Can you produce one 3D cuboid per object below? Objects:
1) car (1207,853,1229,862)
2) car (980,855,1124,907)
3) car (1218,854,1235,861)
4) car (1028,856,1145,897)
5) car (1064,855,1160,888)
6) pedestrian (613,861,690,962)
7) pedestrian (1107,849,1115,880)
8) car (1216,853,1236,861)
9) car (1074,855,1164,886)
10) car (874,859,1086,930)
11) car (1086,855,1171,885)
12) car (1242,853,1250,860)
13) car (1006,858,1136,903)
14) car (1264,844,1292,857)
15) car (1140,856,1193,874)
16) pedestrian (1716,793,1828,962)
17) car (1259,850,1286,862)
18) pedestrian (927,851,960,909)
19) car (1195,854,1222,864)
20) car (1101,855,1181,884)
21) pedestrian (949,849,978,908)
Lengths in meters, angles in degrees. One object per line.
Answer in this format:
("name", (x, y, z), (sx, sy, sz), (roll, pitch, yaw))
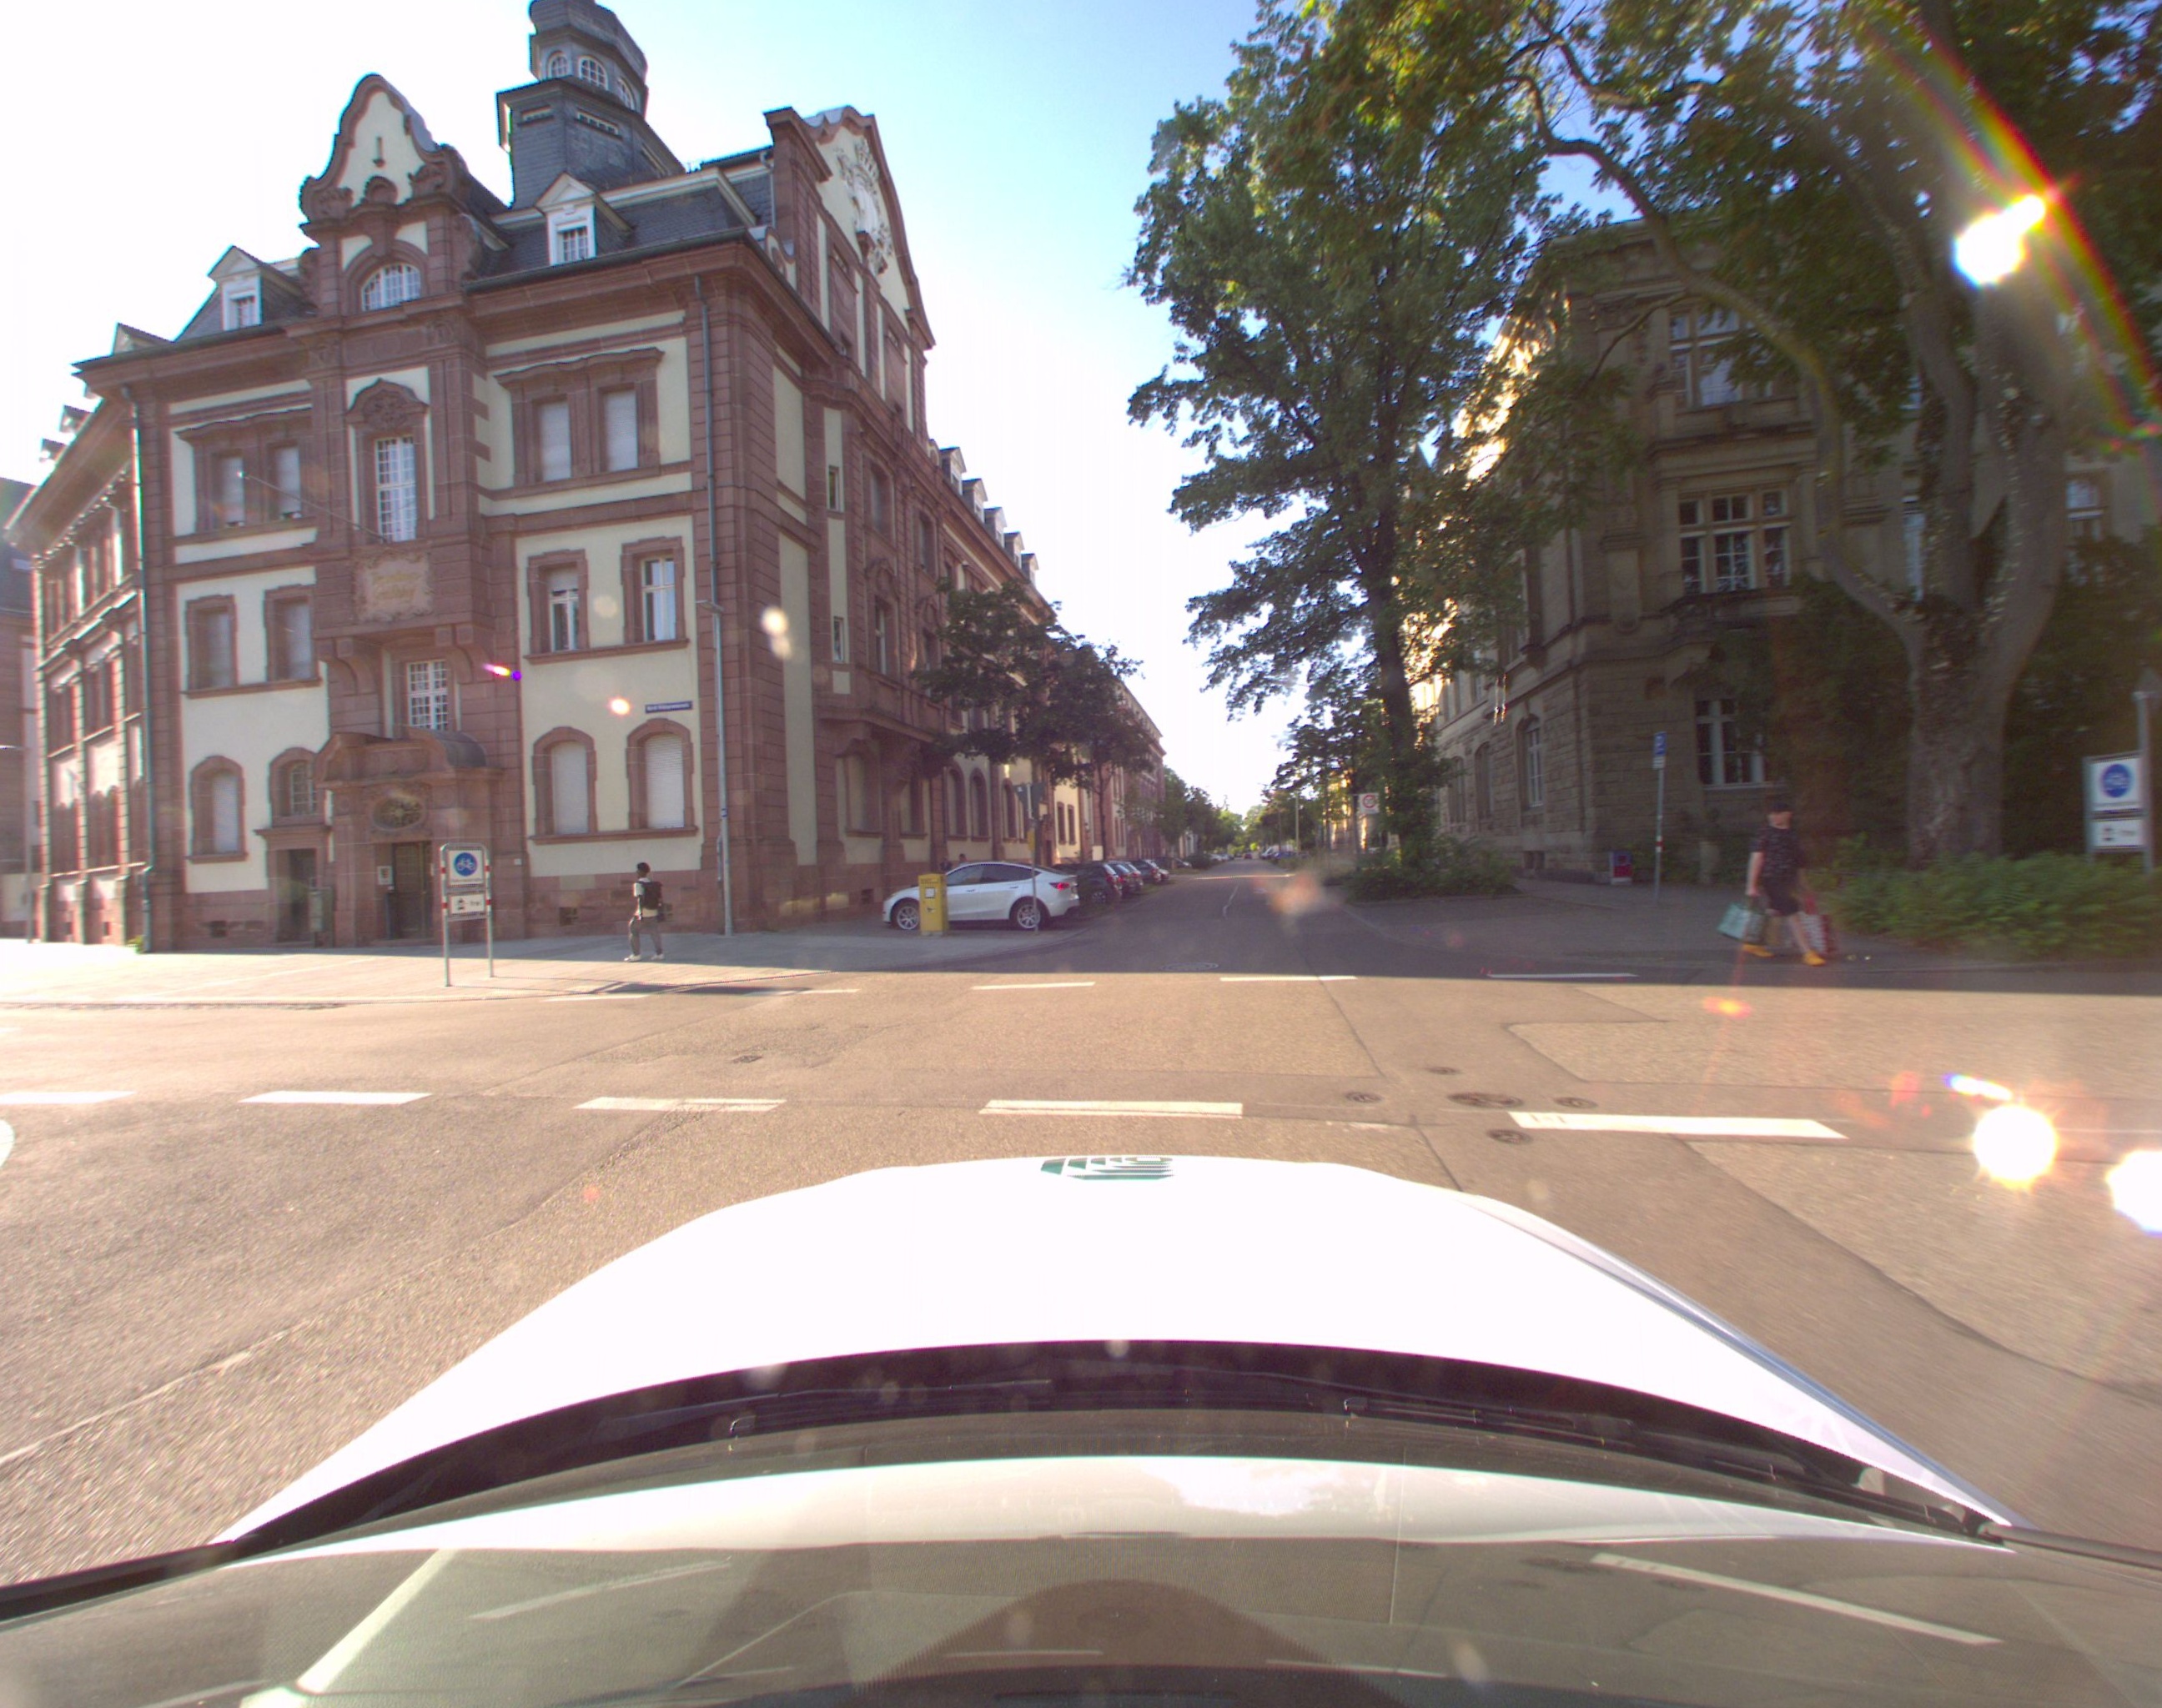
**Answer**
("car", (27.247, 0.688, 161.993), (4.062, 1.494, 1.939), (-3, -1, 12))
("car", (-0.894, 0.865, 26.629), (4.353, 1.585, 1.971), (-1, 0, 8))
("car", (36.348, 0.926, 203.500), (4.062, 1.494, 1.939), (-3, -1, 12))
("car", (0.276, 0.876, 32.240), (4.353, 1.496, 1.971), (-1, 0, 8))
("car", (1.515, 0.828, 38.847), (4.353, 1.496, 1.971), (-1, 0, 8))
("pedestrian", (-7.634, 1.013, 14.491), (0.993, 1.718, 0.536), (-2, 2, 12))
("pedestrian", (2.006, 0.697, 54.379), (0.432, 2.014, 0.465), (-3, -1, 12))
("car", (32.136, 0.692, 180.386), (4.062, 1.494, 1.939), (-3, -1, 12))
("car", (1.978, 0.838, 41.412), (4.353, 1.496, 1.971), (-1, 0, 8))
("car", (-2.359, 0.915, 19.639), (4.679, 1.589, 1.971), (0, 0, 8))
("car", (2.596, 0.848, 43.848), (4.353, 1.496, 1.971), (-1, 0, 8))
("car", (41.407, 0.629, 204.457), (1.734, 1.706, 3.682), (-3, 0, 8))
("car", (-0.307, 0.924, 29.288), (4.353, 1.496, 1.971), (-1, 0, 8))
("car", (34.100, -0.560, 141.028), (4.673, 2.103, 2.007), (-3, -1, 12))
("car", (7.378, 0.927, 69.938), (4.350, 1.496, 1.973), (-1, 0, 11))
("pedestrian", (8.254, 0.271, 9.746), (0.721, 1.918, 0.612), (-3, -1, -12))
("car", (29.621, 0.290, 126.066), (3.961, 1.618, 1.794), (-3, -1, 11))
("pedestrian", (-4.406, 0.833, 26.098), (0.782, 1.840, 0.719), (-1, 0, 14))
("car", (20.383, 0.761, 130.146), (4.062, 1.494, 1.939), (-3, -1, 12))
("car", (3.409, 0.863, 45.932), (4.353, 1.496, 1.971), (-1, 0, 8))
("pedestrian", (-3.695, 0.764, 25.652), (0.719, 1.840, 0.615), (-1, 0, 14))
